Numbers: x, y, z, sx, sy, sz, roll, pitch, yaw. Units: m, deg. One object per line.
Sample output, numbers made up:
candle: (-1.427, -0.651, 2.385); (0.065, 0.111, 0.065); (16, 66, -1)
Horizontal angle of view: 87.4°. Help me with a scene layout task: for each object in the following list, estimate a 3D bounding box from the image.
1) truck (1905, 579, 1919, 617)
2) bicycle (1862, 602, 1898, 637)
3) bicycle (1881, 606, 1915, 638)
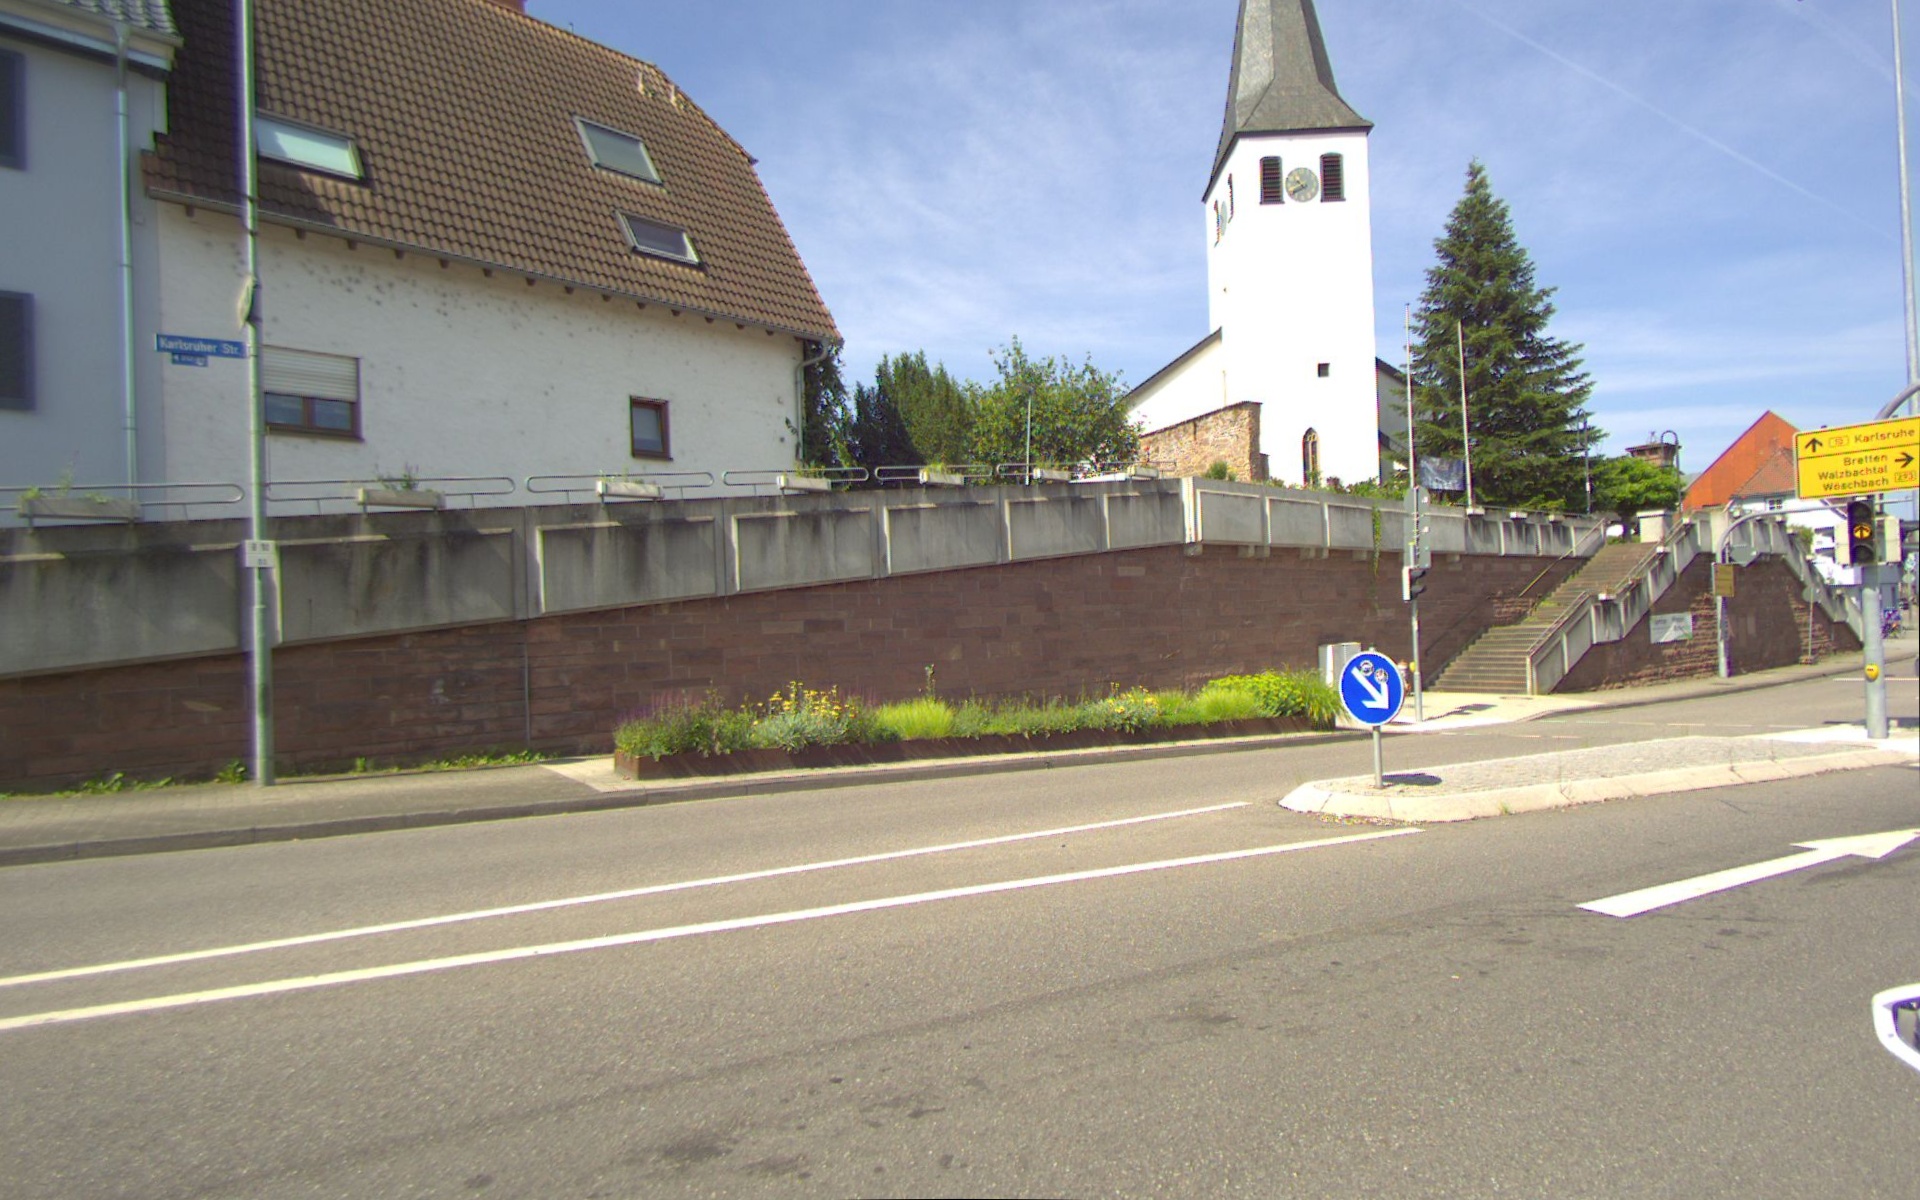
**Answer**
truck: (88.893, -0.205, 90.554); (3.114, 3.506, 10.688); (1, 0, 31)
bicycle: (48.595, 1.027, 53.034); (2.638, 1.803, 0.638); (0, 1, -30)
bicycle: (48.283, 1.109, 51.708); (2.532, 1.629, 0.555); (0, 1, -30)
